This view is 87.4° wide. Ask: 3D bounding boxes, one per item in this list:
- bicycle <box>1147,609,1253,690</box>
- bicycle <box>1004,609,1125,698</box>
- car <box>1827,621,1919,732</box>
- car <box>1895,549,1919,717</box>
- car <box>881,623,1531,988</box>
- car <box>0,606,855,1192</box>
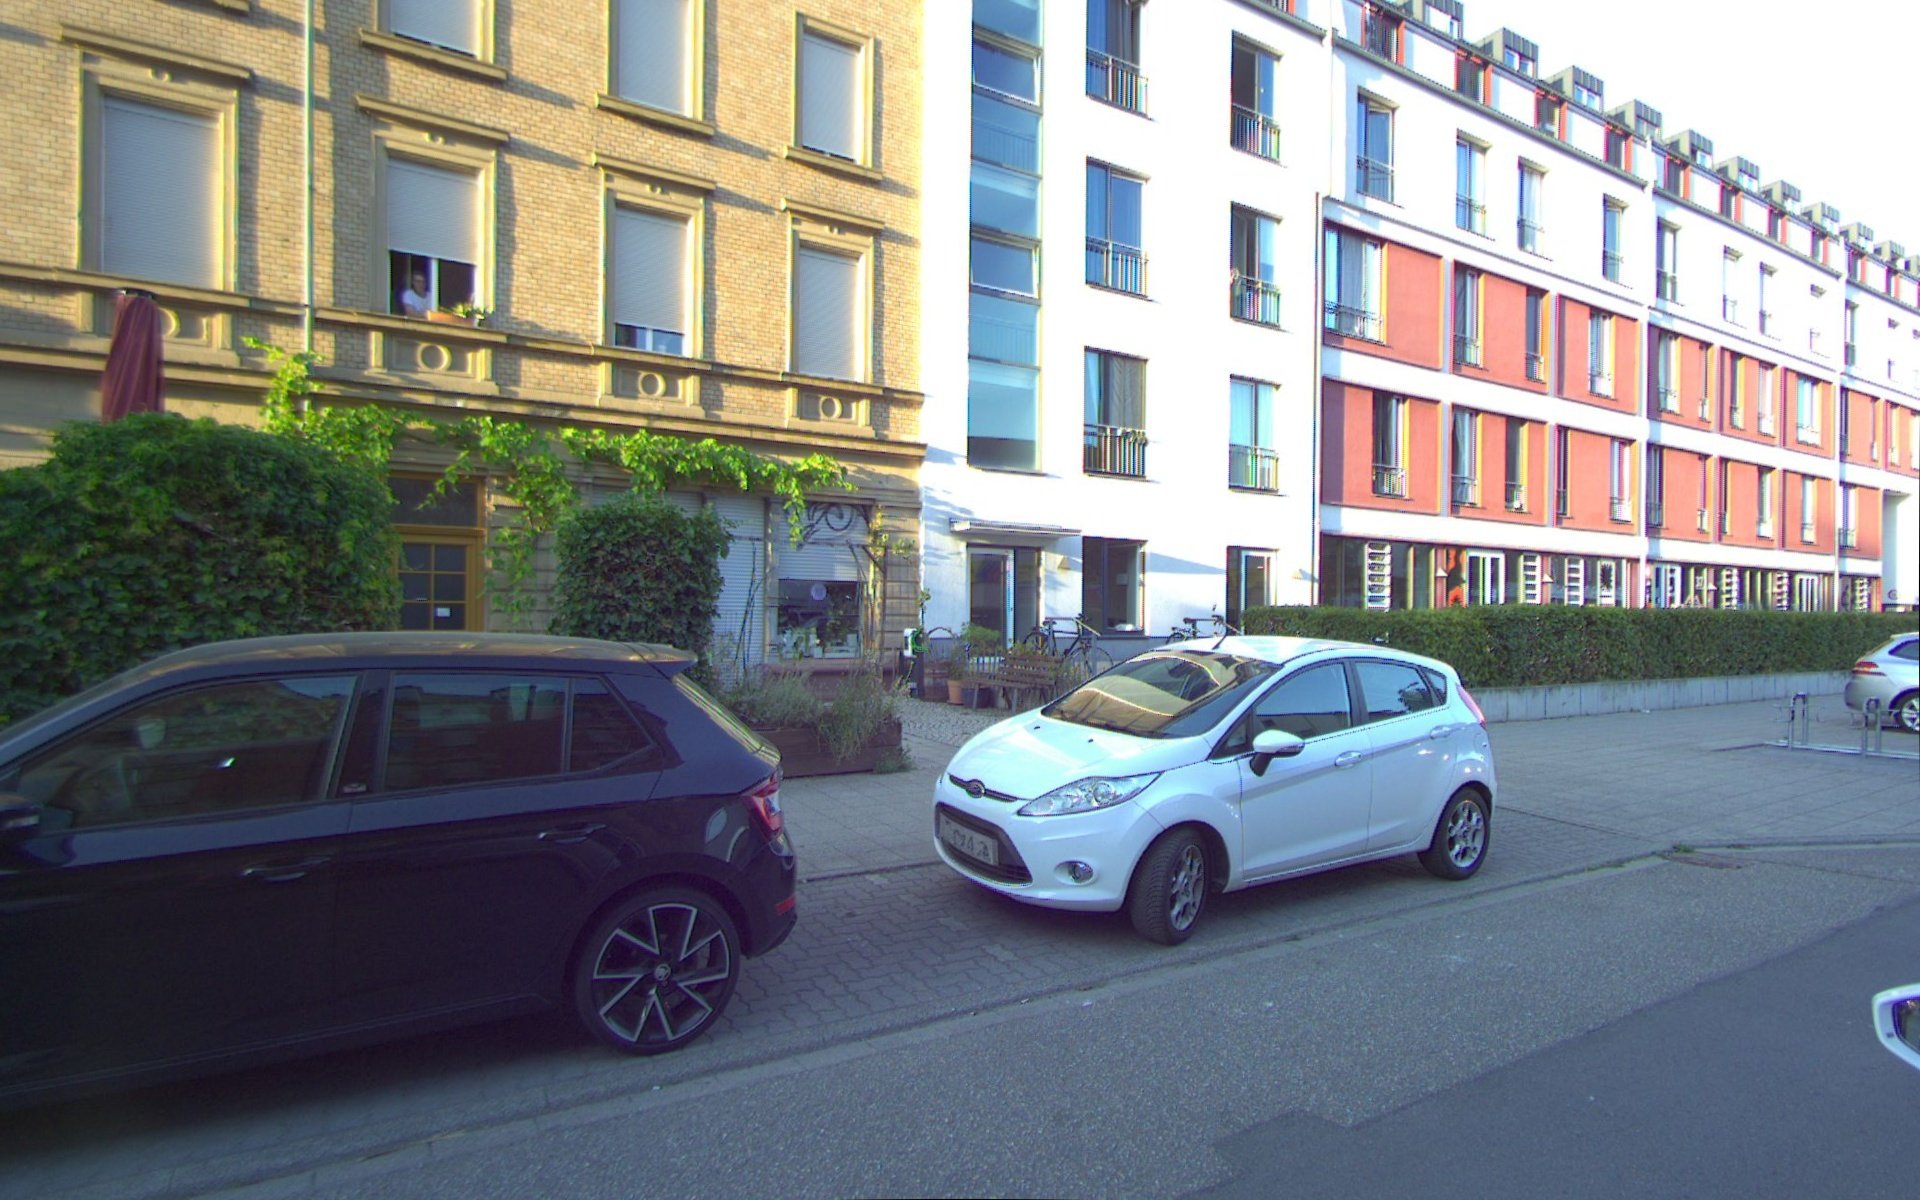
[{"bbox_3d":[3.766,0.754,15.928,0.603,1.163,1.768,1,1,-28],"label":"bicycle"},{"bbox_3d":[1.489,0.737,14.688,0.802,1.157,1.906,1,1,-29],"label":"bicycle"},{"bbox_3d":[14.610,1.100,13.153,1.861,1.480,4.587,1,1,-33],"label":"car"},{"bbox_3d":[16.808,0.570,14.451,1.976,2.619,4.491,1,1,-29],"label":"car"},{"bbox_3d":[1.650,0.944,6.181,3.975,1.550,1.641,1,0,-34],"label":"car"},{"bbox_3d":[-2.476,0.820,3.743,3.800,1.554,1.695,1,0,-31],"label":"car"}]
